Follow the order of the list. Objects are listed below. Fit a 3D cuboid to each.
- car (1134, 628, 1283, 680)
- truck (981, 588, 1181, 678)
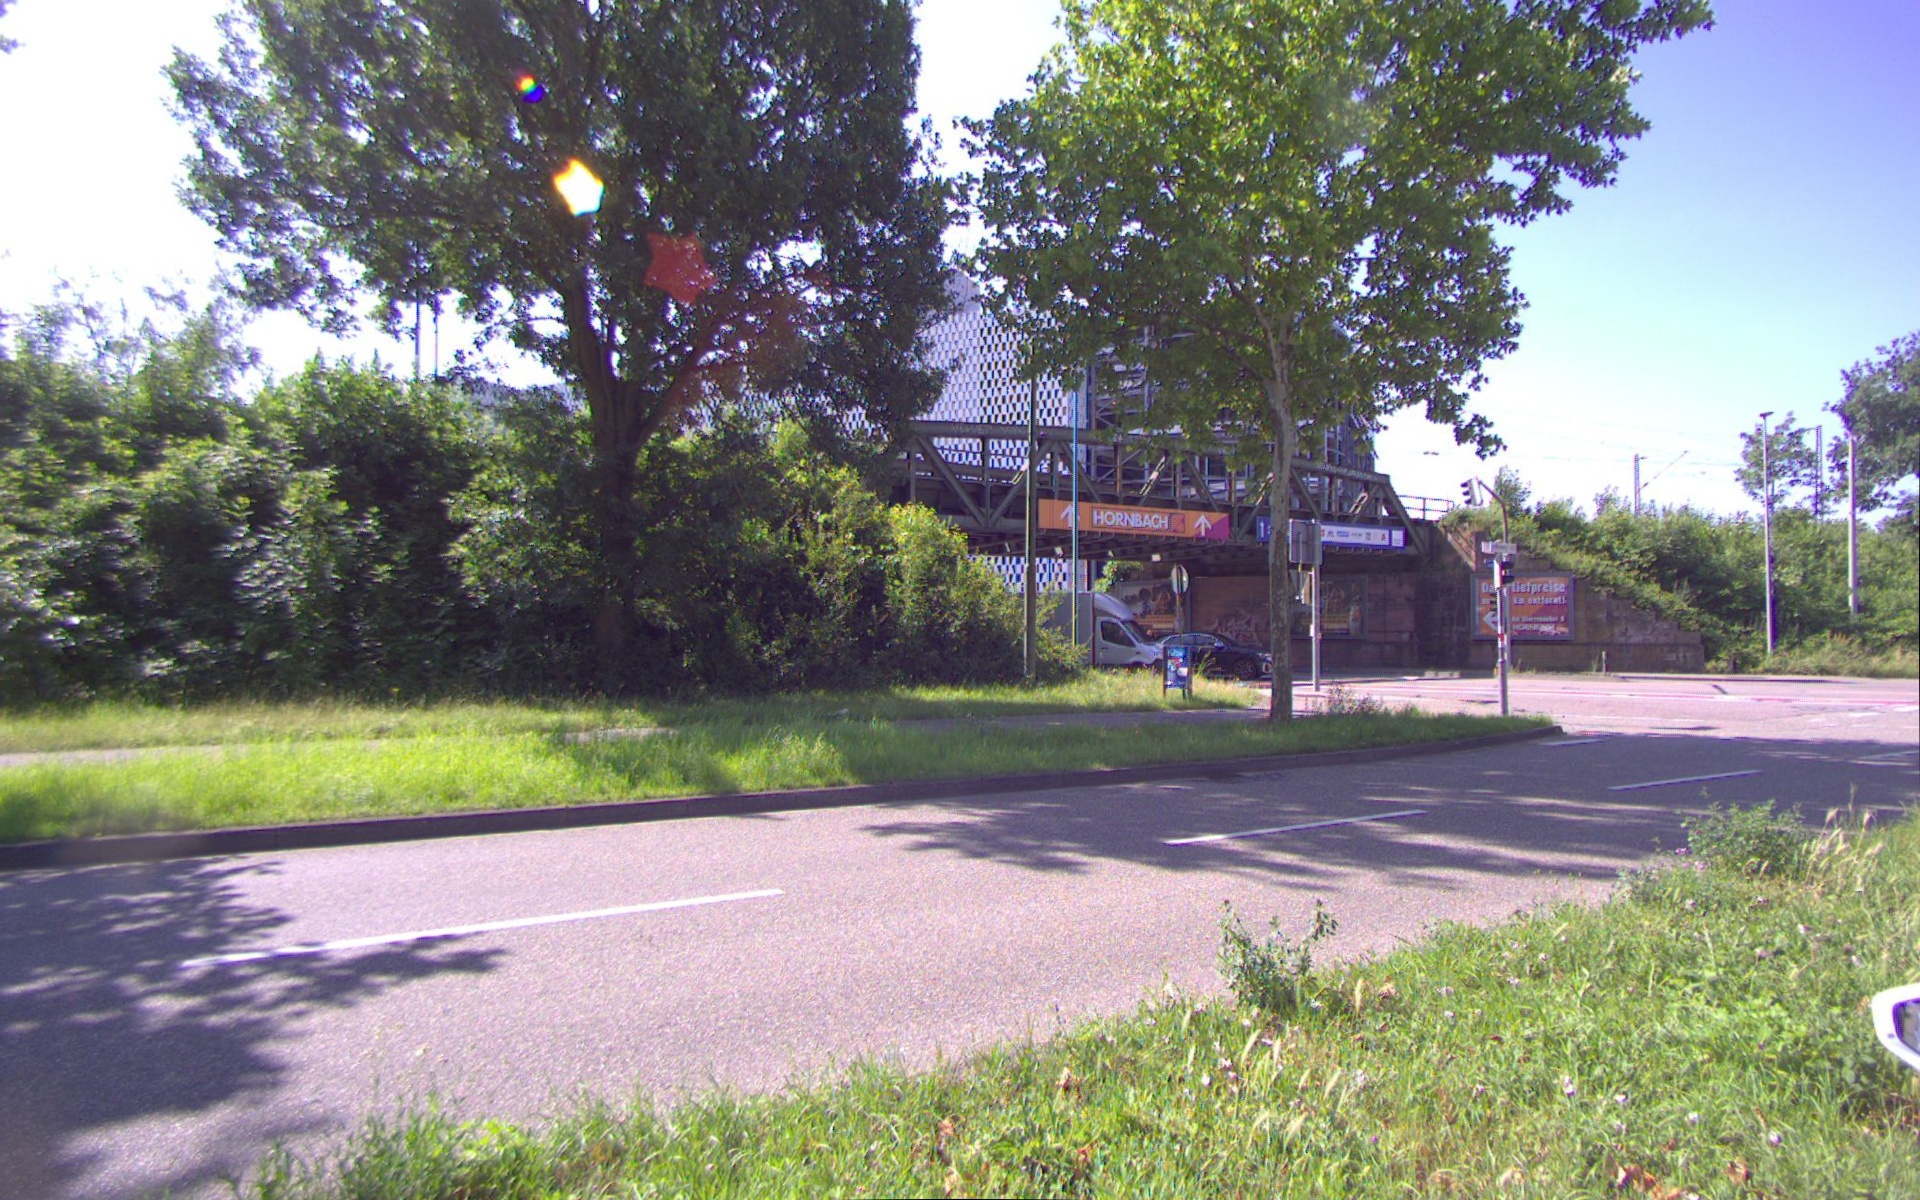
[{"bbox_3d":[8.814,1.866,35.710,4.957,1.617,1.526,1,-1,24],"label":"car"},{"bbox_3d":[3.979,1.031,33.426,6.286,2.748,1.998,1,-1,26],"label":"truck"}]
